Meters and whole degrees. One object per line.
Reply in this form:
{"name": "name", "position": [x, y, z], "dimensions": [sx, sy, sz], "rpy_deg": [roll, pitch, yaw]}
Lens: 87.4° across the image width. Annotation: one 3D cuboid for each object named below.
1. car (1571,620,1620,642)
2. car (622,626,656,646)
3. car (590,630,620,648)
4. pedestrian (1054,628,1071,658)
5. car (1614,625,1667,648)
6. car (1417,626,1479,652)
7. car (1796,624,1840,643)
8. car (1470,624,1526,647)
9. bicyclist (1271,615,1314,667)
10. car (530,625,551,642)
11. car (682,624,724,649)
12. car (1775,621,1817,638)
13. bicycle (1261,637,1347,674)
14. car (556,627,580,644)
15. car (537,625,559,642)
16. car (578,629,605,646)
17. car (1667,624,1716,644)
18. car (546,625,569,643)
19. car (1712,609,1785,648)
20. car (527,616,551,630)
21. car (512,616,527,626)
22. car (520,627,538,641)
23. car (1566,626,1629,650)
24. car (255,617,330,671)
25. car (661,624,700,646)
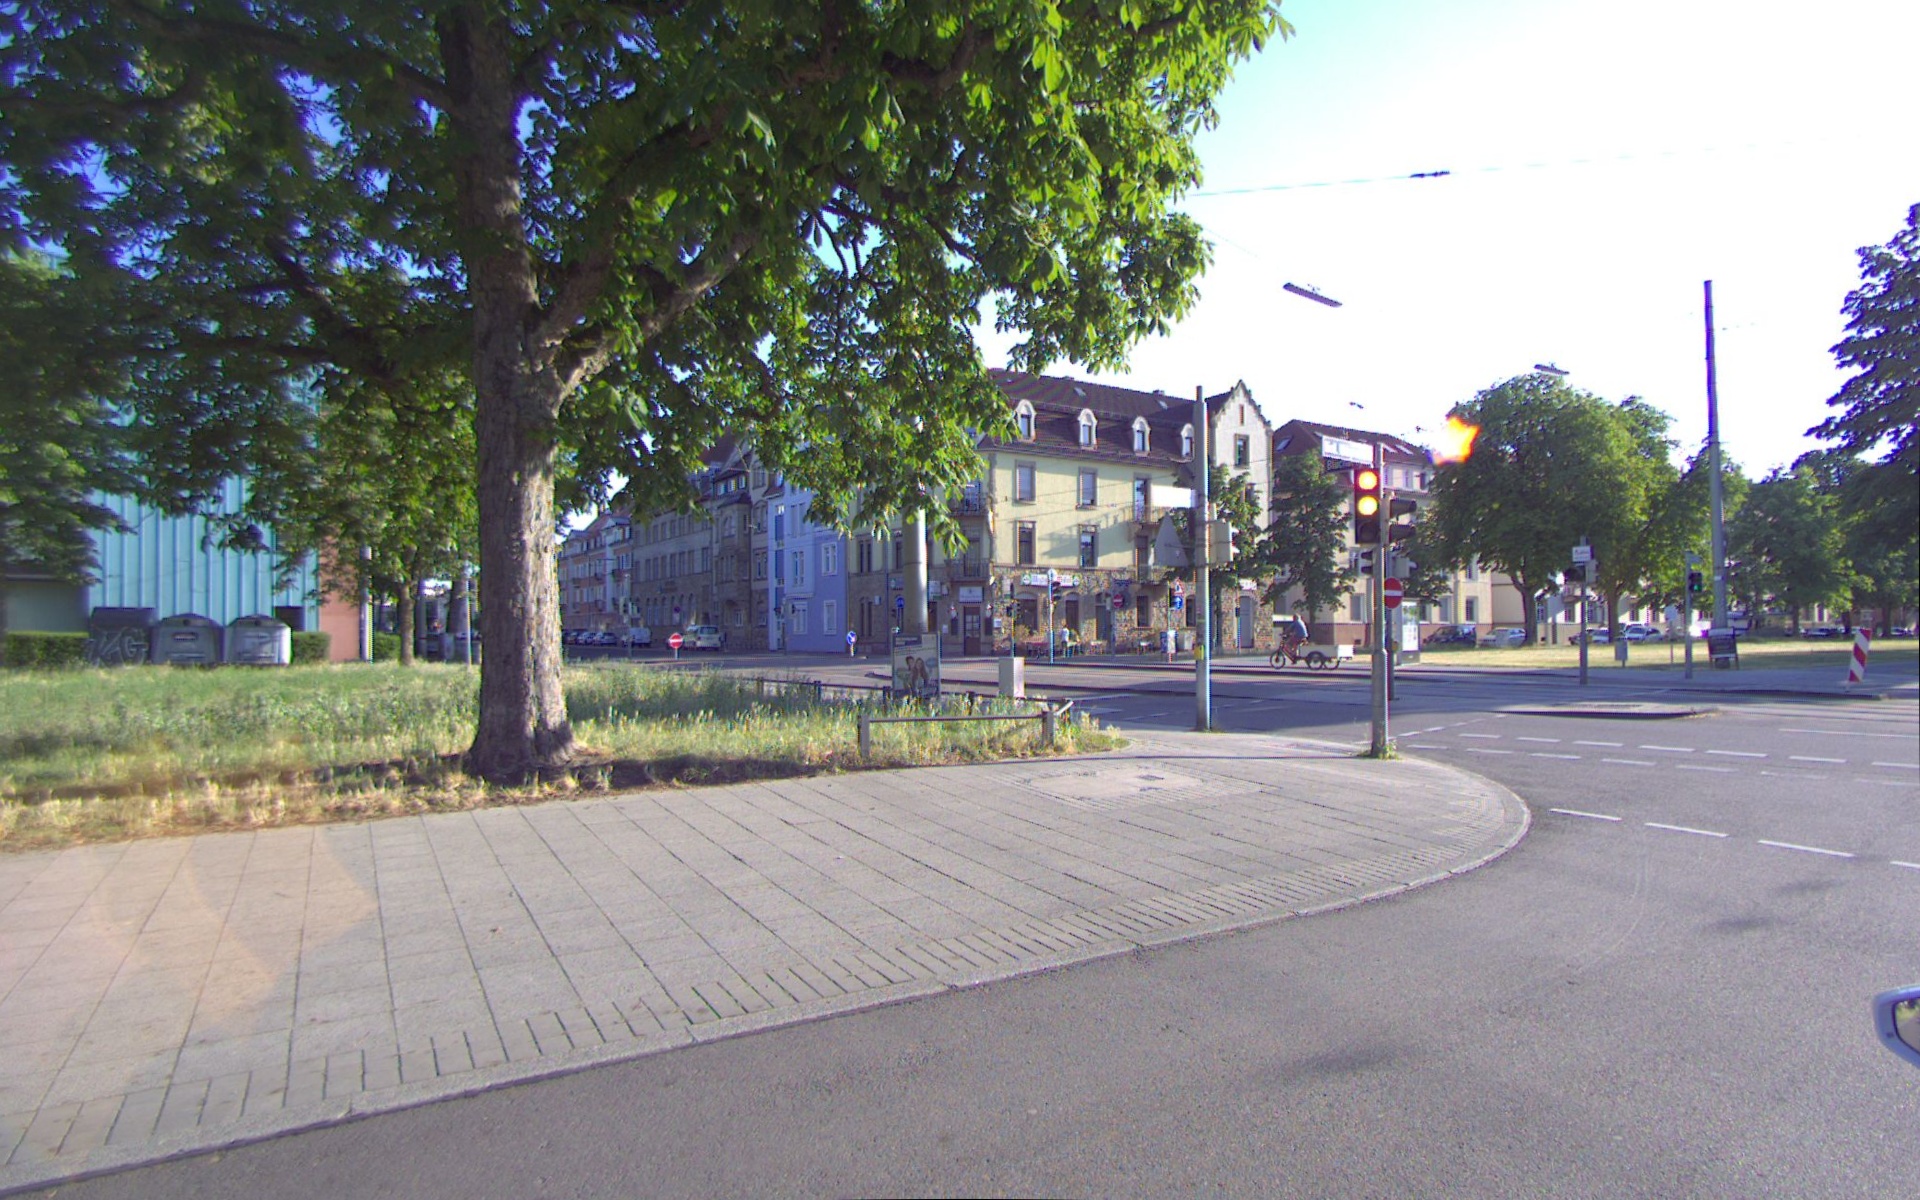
{"name": "car", "position": [52.854, 2.580, 83.489], "dimensions": [4.142, 1.654, 1.707], "rpy_deg": [2, 0, -30]}
{"name": "car", "position": [-30.057, 3.368, 93.985], "dimensions": [1.980, 1.694, 3.743], "rpy_deg": [2, 0, -34]}
{"name": "car", "position": [-36.613, 3.982, 103.592], "dimensions": [1.980, 1.694, 3.743], "rpy_deg": [2, 0, -34]}
{"name": "pedestrian", "position": [5.749, 2.404, 56.328], "dimensions": [0.676, 1.646, 0.612], "rpy_deg": [2, 0, -34]}
{"name": "car", "position": [51.625, 2.733, 76.209], "dimensions": [4.372, 1.575, 1.785], "rpy_deg": [0, 1, -34]}
{"name": "car", "position": [35.612, 2.830, 73.274], "dimensions": [4.261, 1.759, 1.984], "rpy_deg": [2, 0, -30]}
{"name": "car", "position": [80.905, 3.159, 94.700], "dimensions": [4.266, 1.696, 1.869], "rpy_deg": [2, 0, -31]}
{"name": "car", "position": [40.921, 2.713, 76.403], "dimensions": [3.953, 1.681, 1.984], "rpy_deg": [2, 0, -30]}
{"name": "bicyclist", "position": [11.475, 1.420, 34.681], "dimensions": [0.864, 1.746, 1.141], "rpy_deg": [1, -3, -27]}
{"name": "car", "position": [-54.529, 4.372, 130.543], "dimensions": [1.756, 2.040, 3.790], "rpy_deg": [2, 0, -34]}
{"name": "car", "position": [-20.045, 2.835, 78.259], "dimensions": [2.011, 1.760, 3.743], "rpy_deg": [2, 0, -34]}
{"name": "car", "position": [86.922, 3.055, 104.380], "dimensions": [4.323, 1.681, 1.984], "rpy_deg": [2, 0, -30]}
{"name": "bicycle", "position": [11.667, 1.873, 34.234], "dimensions": [0.863, 1.176, 3.063], "rpy_deg": [1, -3, -26]}
{"name": "car", "position": [-45.999, 4.130, 117.741], "dimensions": [1.782, 1.855, 3.755], "rpy_deg": [2, 0, -34]}
{"name": "car", "position": [-51.965, 4.220, 126.671], "dimensions": [1.789, 2.040, 3.772], "rpy_deg": [2, 0, -33]}
{"name": "car", "position": [-39.776, 4.058, 108.259], "dimensions": [1.816, 1.692, 3.911], "rpy_deg": [2, 0, -34]}
{"name": "car", "position": [66.800, 3.086, 91.725], "dimensions": [4.517, 1.681, 1.984], "rpy_deg": [2, 0, -30]}
{"name": "car", "position": [-48.984, 4.100, 122.102], "dimensions": [1.805, 2.040, 3.924], "rpy_deg": [2, 0, -34]}
{"name": "car", "position": [67.949, 2.444, 86.509], "dimensions": [7.764, 3.173, 2.379], "rpy_deg": [1, 1, -32]}
{"name": "car", "position": [-58.380, 3.192, 139.291], "dimensions": [1.911, 1.715, 3.952], "rpy_deg": [2, 0, -41]}
{"name": "car", "position": [-69.014, 3.329, 157.241], "dimensions": [1.534, 1.387, 3.428], "rpy_deg": [2, 0, -34]}
{"name": "car", "position": [-57.752, 4.552, 134.562], "dimensions": [1.713, 1.694, 3.638], "rpy_deg": [2, 0, -33]}
{"name": "car", "position": [46.499, 2.769, 73.234], "dimensions": [4.517, 1.681, 1.984], "rpy_deg": [2, 0, -30]}
{"name": "car", "position": [-22.904, 1.561, 34.507], "dimensions": [1.979, 1.693, 5.177], "rpy_deg": [2, -4, -34]}
{"name": "car", "position": [-23.181, 2.881, 83.326], "dimensions": [1.980, 1.763, 3.962], "rpy_deg": [1, 0, -34]}
